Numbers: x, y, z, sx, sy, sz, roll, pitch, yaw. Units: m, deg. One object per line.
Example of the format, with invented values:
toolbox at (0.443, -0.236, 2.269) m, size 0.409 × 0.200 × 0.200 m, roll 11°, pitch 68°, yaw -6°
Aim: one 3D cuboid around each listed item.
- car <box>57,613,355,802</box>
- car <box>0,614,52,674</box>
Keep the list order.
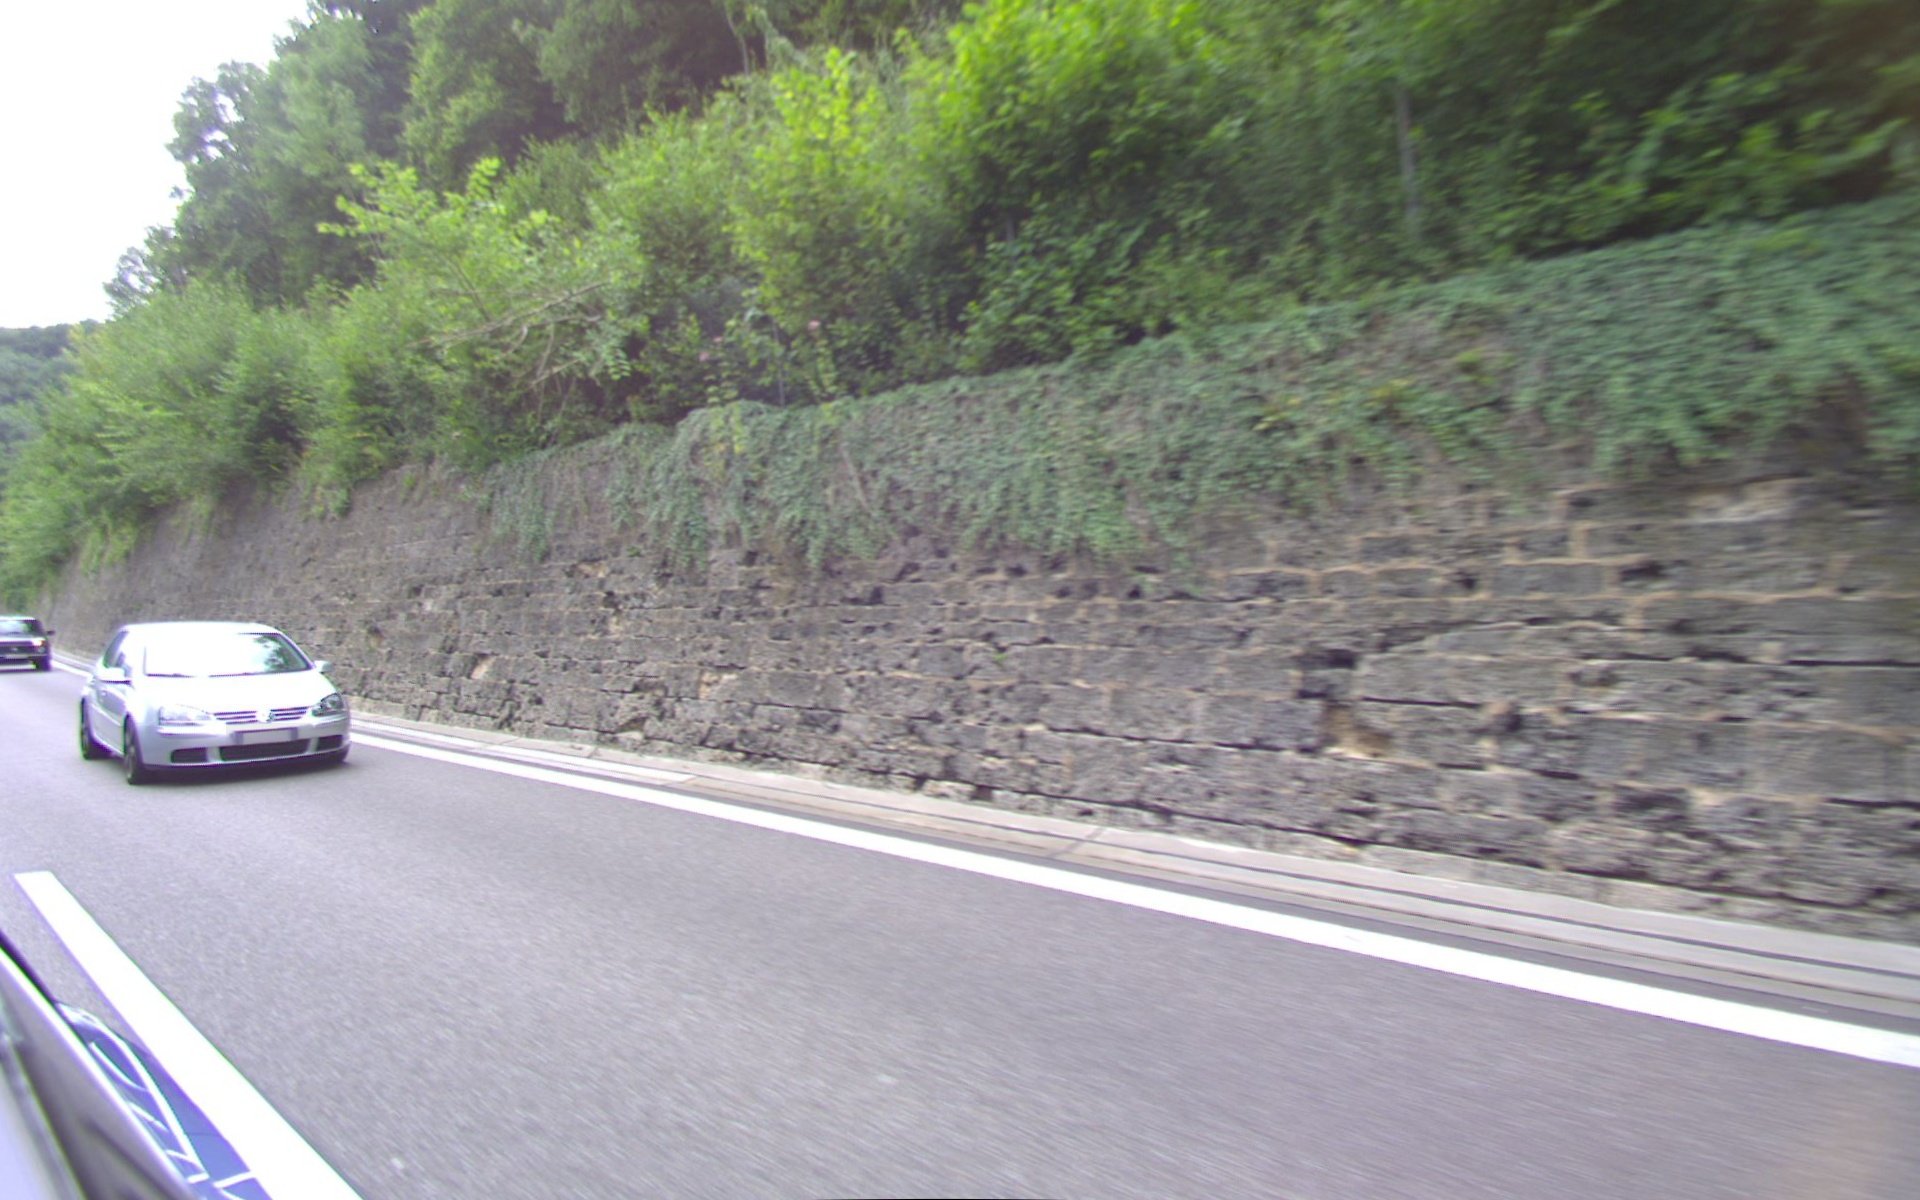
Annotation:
car at (-8.007, 0.939, 10.559) m, size 4.583 × 1.526 × 1.663 m, roll -1°, pitch 0°, yaw 43°
car at (-28.756, 1.311, 30.546) m, size 1.787 × 1.668 × 4.586 m, roll -1°, pitch 0°, yaw -45°
